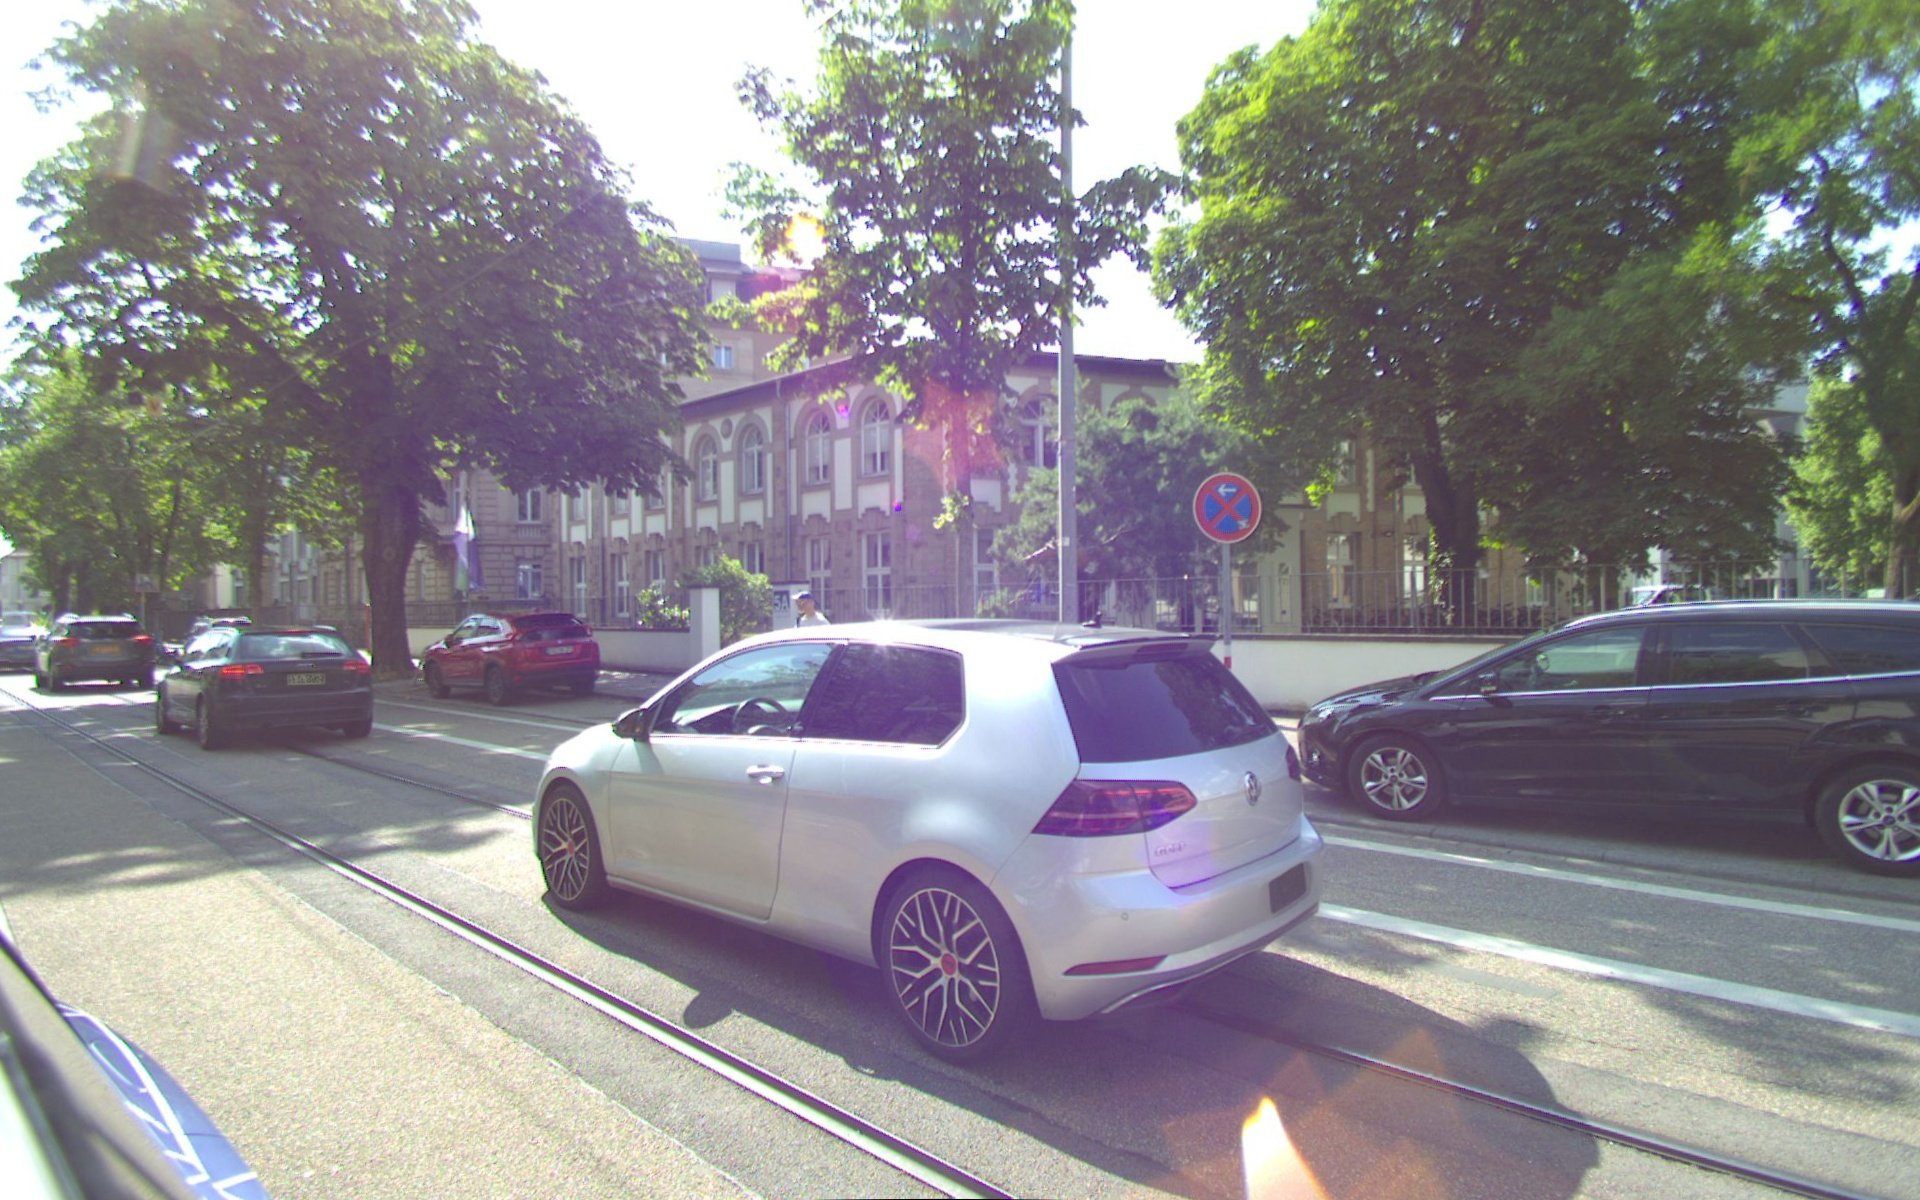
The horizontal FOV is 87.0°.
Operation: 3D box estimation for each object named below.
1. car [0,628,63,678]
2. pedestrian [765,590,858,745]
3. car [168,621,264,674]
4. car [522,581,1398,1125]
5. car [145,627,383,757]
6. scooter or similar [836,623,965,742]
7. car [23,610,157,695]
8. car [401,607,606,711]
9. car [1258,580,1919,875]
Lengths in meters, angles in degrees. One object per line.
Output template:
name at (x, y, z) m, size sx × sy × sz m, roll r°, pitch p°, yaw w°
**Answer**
car at (-28.674, 1.562, 30.632) m, size 4.425 × 1.399 × 1.780 m, roll -2°, pitch -2°, yaw 42°
pedestrian at (-1.794, 0.784, 12.268) m, size 0.750 × 1.780 × 0.782 m, roll -1°, pitch 1°, yaw 33°
car at (-25.755, 1.590, 34.975) m, size 4.330 × 1.653 × 1.787 m, roll -1°, pitch 1°, yaw 42°
car at (-0.285, 0.700, 4.630) m, size 3.852 × 1.427 × 1.754 m, roll -1°, pitch -1°, yaw 43°
car at (-8.989, 1.047, 12.945) m, size 4.000 × 1.386 × 1.704 m, roll -1°, pitch -2°, yaw 43°
scooter or similar at (-0.700, 0.951, 12.228) m, size 0.854 × 1.289 × 1.325 m, roll -1°, pitch 1°, yaw 41°
car at (-19.929, 1.181, 23.119) m, size 4.390 × 1.740 × 1.806 m, roll -3°, pitch -3°, yaw 42°
car at (-8.739, 1.020, 19.167) m, size 4.719 × 1.678 × 1.732 m, roll -1°, pitch 1°, yaw 42°
car at (4.573, 0.680, 6.848) m, size 4.588 × 1.527 × 1.732 m, roll -1°, pitch 1°, yaw 40°
